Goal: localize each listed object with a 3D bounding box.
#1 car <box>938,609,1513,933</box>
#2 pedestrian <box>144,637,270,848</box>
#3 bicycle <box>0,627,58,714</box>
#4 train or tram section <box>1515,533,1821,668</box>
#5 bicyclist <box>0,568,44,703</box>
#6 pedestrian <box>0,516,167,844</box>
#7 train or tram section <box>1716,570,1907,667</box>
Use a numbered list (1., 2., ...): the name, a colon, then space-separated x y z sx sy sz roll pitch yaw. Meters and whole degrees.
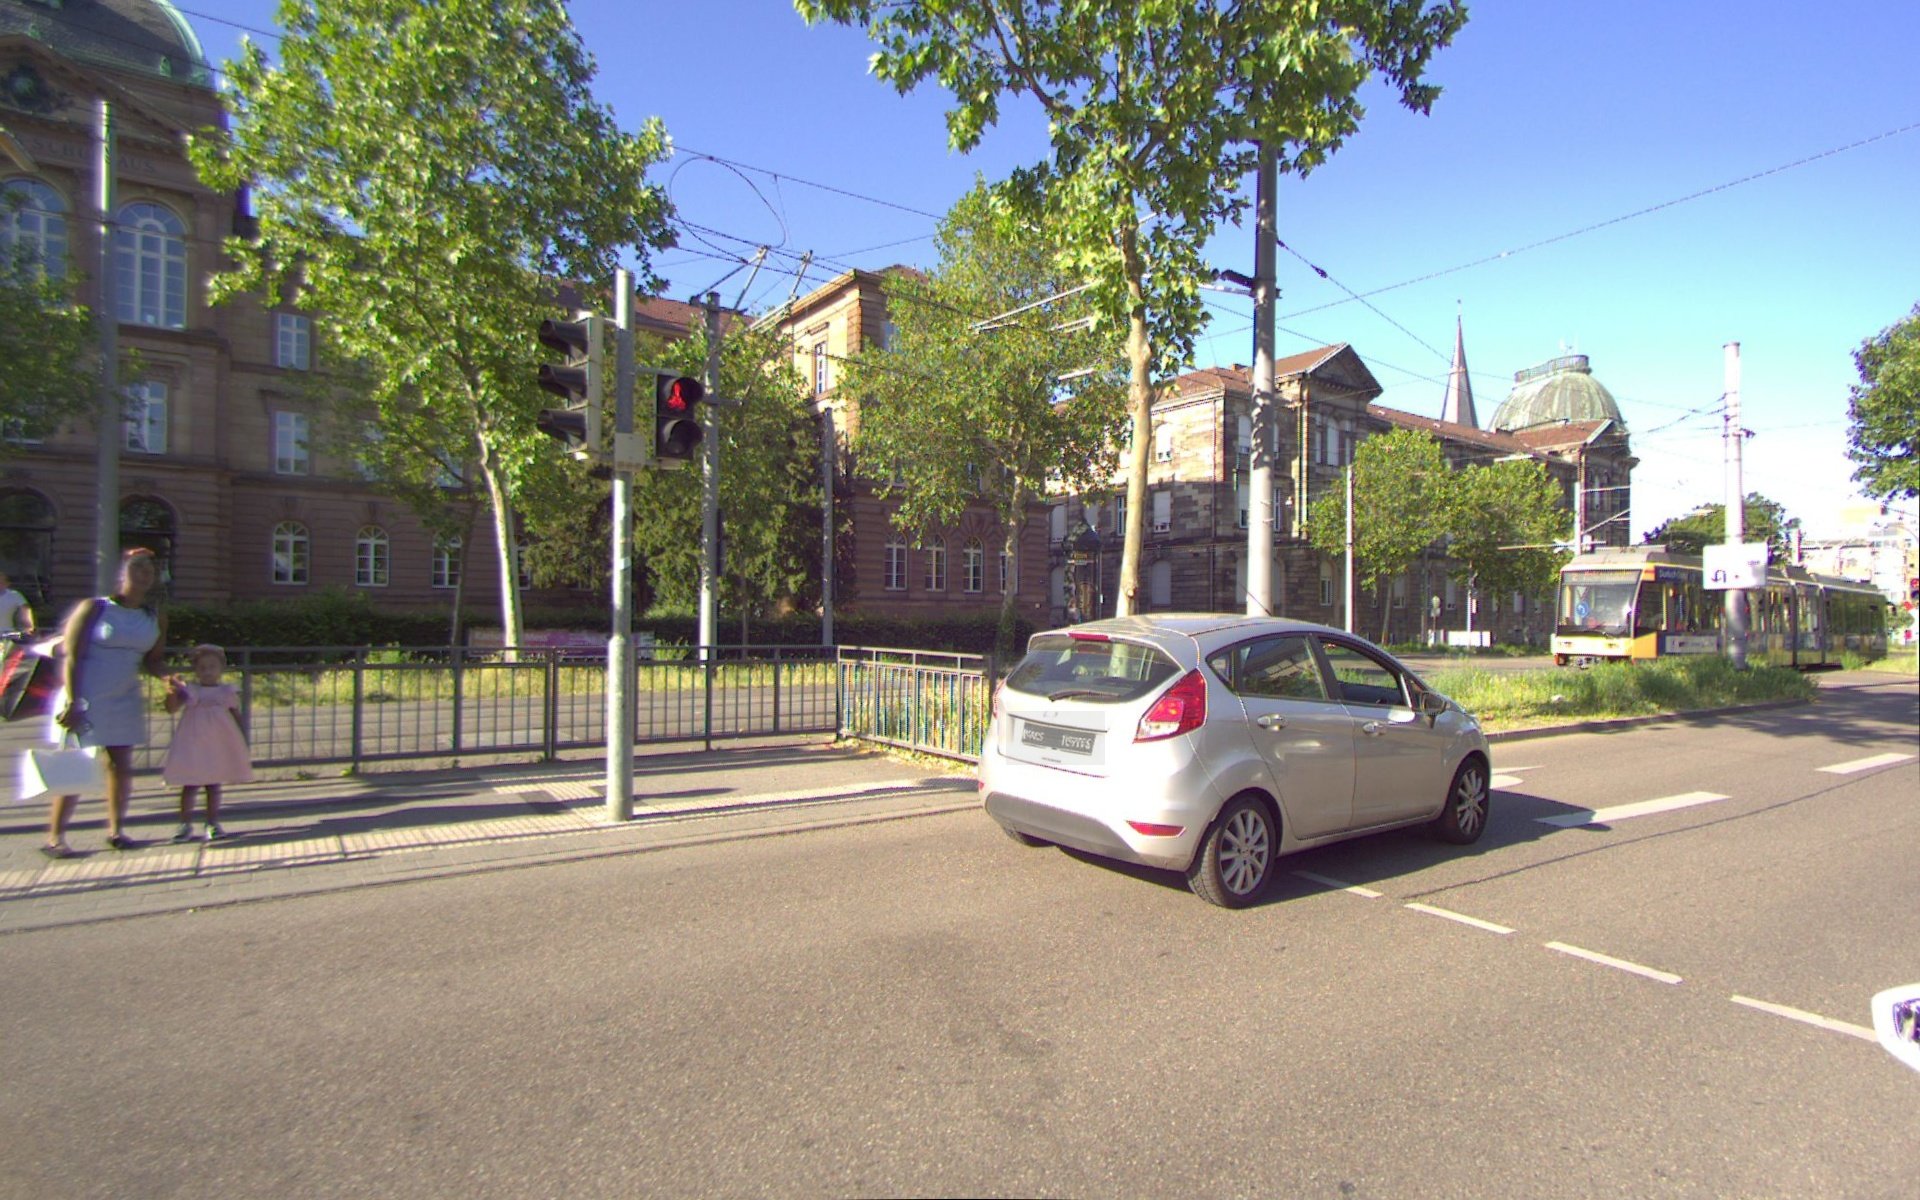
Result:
1. car: 1.796 0.822 6.274 3.601 1.428 1.647 2 -1 -39
2. pedestrian: -4.235 0.757 5.648 0.525 1.087 0.626 1 -2 -39
3. bicycle: -11.931 0.856 12.574 1.648 0.999 0.831 1 -1 44
4. train or tram section: 22.094 0.298 30.568 15.747 3.303 2.893 3 -1 -37
5. bicyclist: -11.913 0.437 12.532 0.653 1.648 0.655 1 -1 44
6. pedestrian: -4.584 0.395 5.261 0.641 1.577 0.626 1 -2 -39
7. train or tram section: 33.527 0.867 39.238 12.993 3.303 2.893 3 -1 -37
